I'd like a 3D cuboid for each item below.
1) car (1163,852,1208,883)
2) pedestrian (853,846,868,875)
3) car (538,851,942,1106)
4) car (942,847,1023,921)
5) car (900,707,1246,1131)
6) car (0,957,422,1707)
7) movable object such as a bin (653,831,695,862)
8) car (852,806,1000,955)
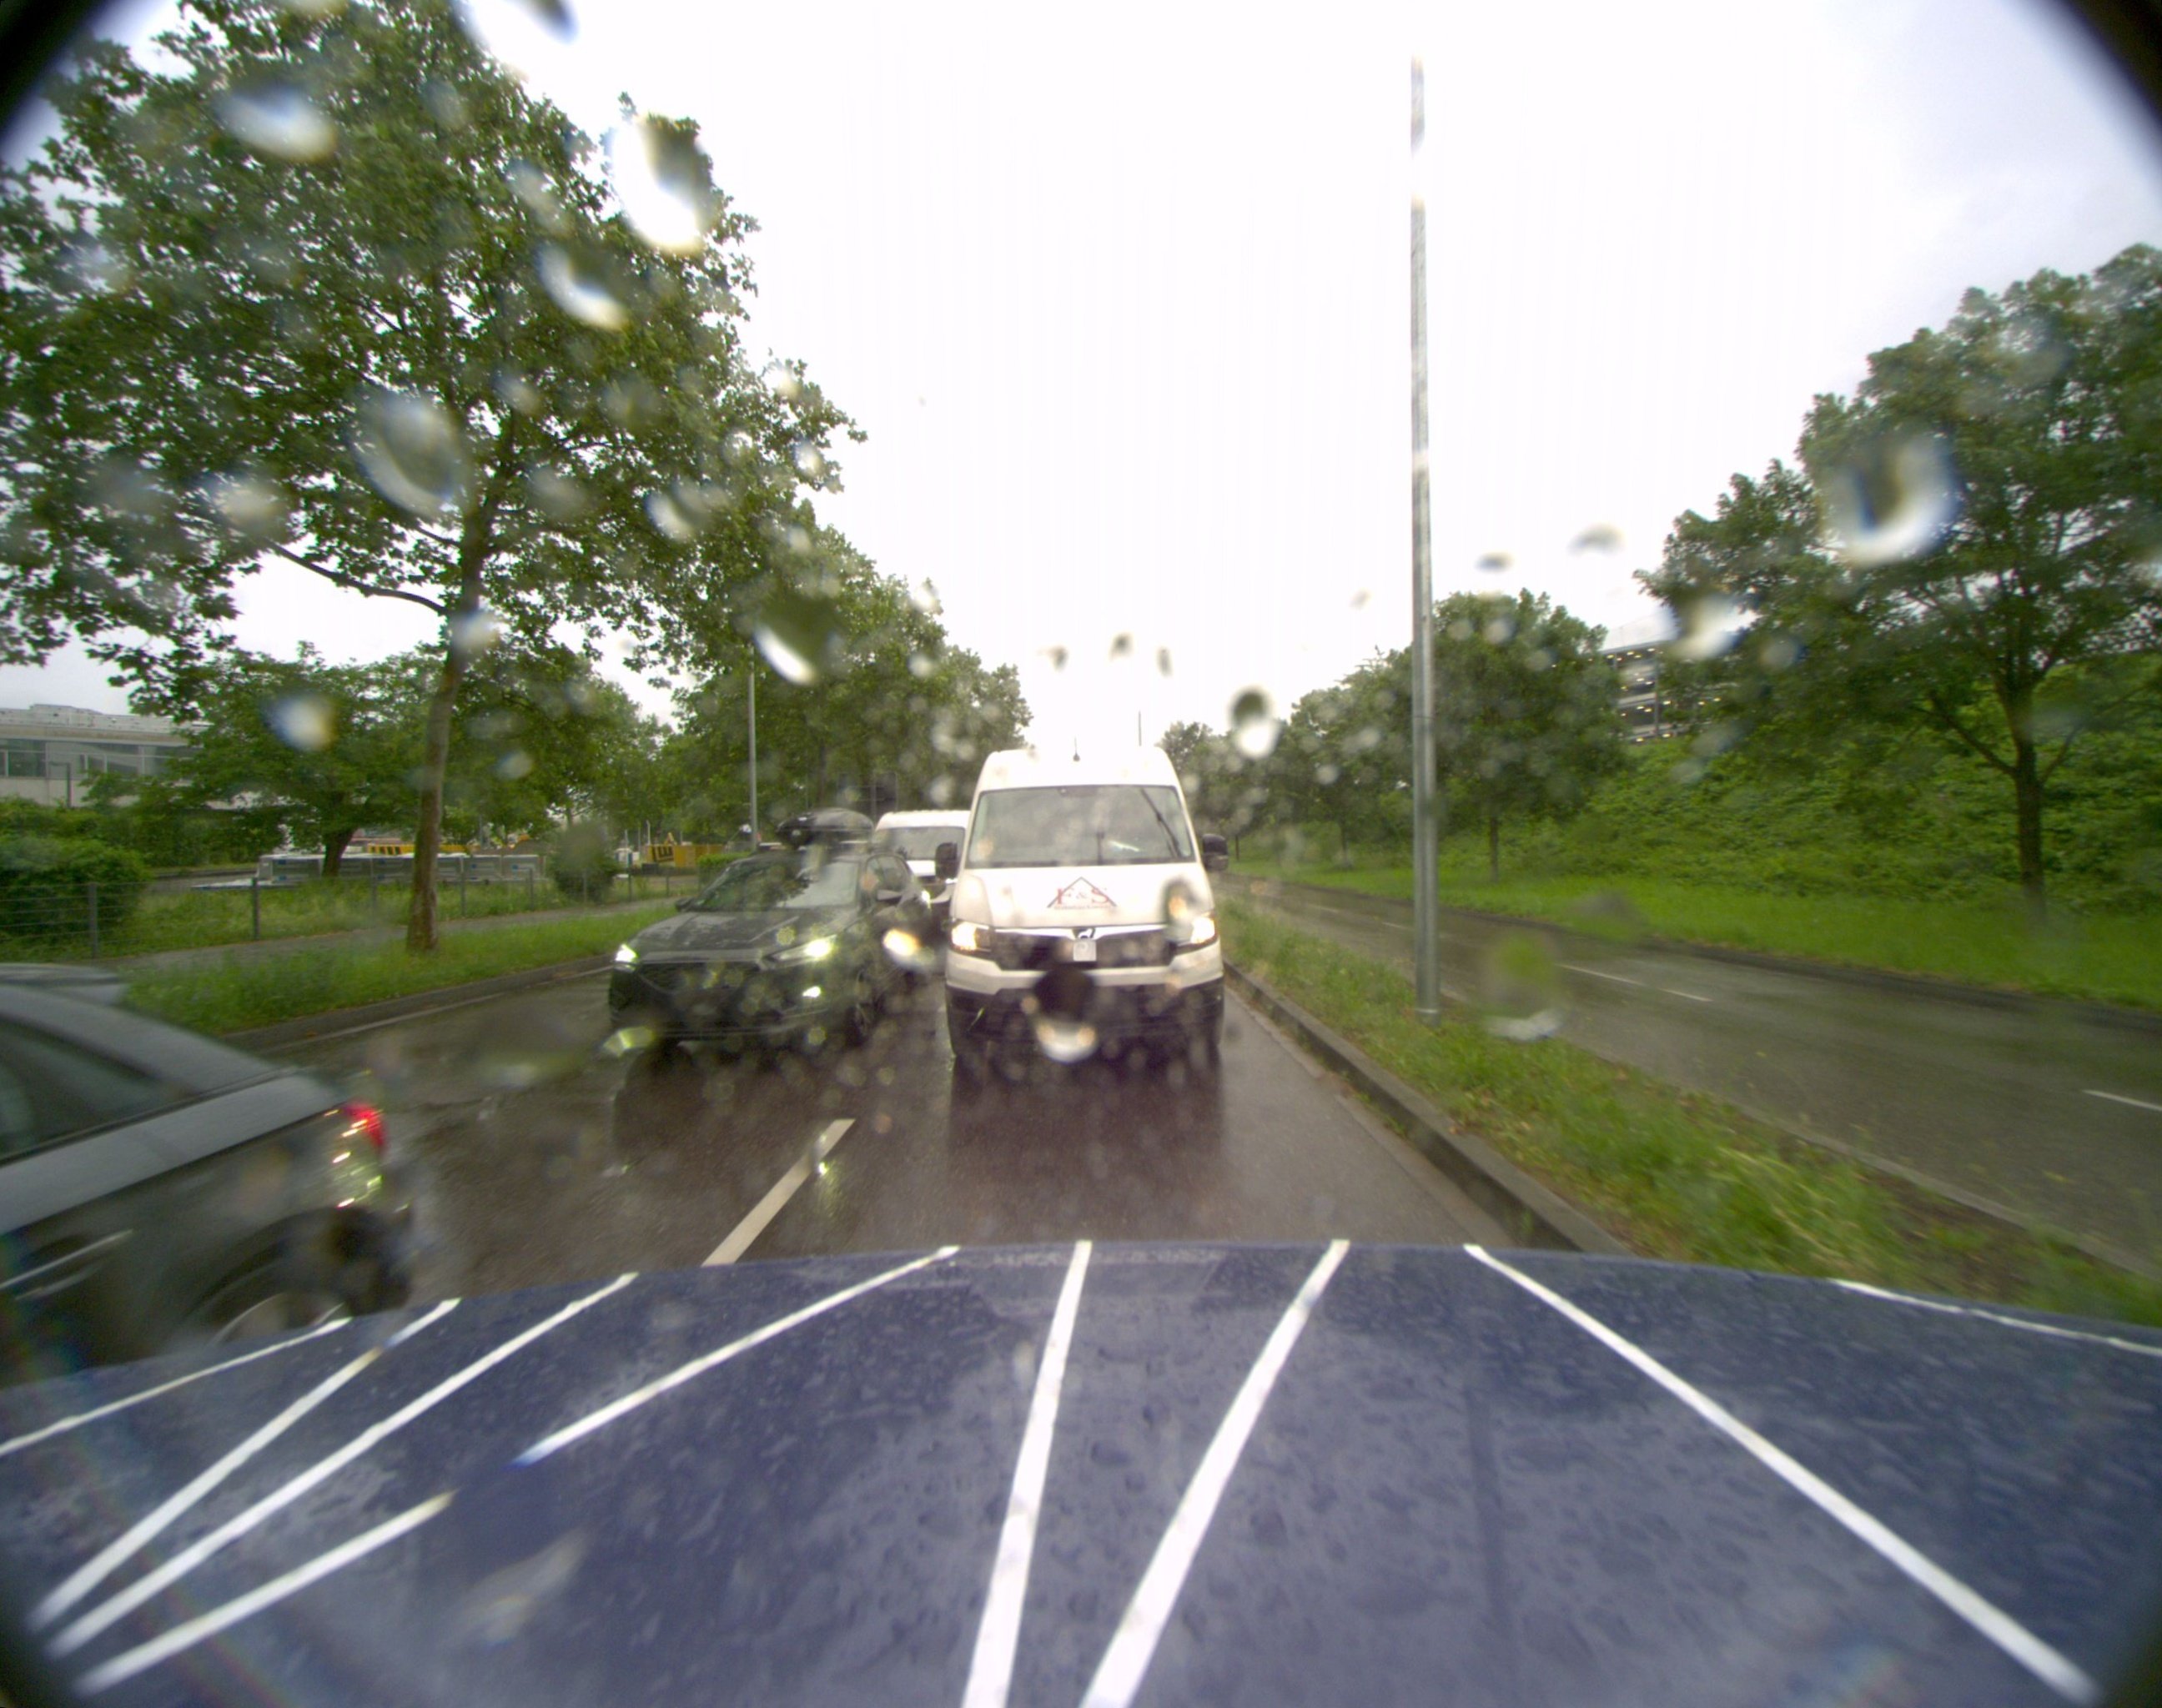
[{"bbox_3d":[5.558,0.686,40.849,1.820,1.454,3.999,1,1,0],"label":"car"},{"bbox_3d":[-13.354,0.400,45.978,0.646,1.707,0.656,-2,2,1],"label":"pedestrian"},{"bbox_3d":[-2.731,0.846,7.398,1.894,1.688,4.423,-1,1,0],"label":"car"},{"bbox_3d":[-2.748,0.766,22.237,1.807,1.902,4.546,-1,1,-1],"label":"car"},{"bbox_3d":[-0.088,0.367,7.394,2.027,2.498,5.694,-1,1,-1],"label":"car"},{"bbox_3d":[-2.810,1.046,0.327,1.680,1.419,3.781,-2,1,1],"label":"car"},{"bbox_3d":[-47.024,-0.825,87.777,4.925,3.415,1.922,-1,2,33],"label":"movable object such as a bin"},{"bbox_3d":[-2.848,0.415,15.230,1.894,2.432,5.317,-1,1,-1],"label":"car"}]
